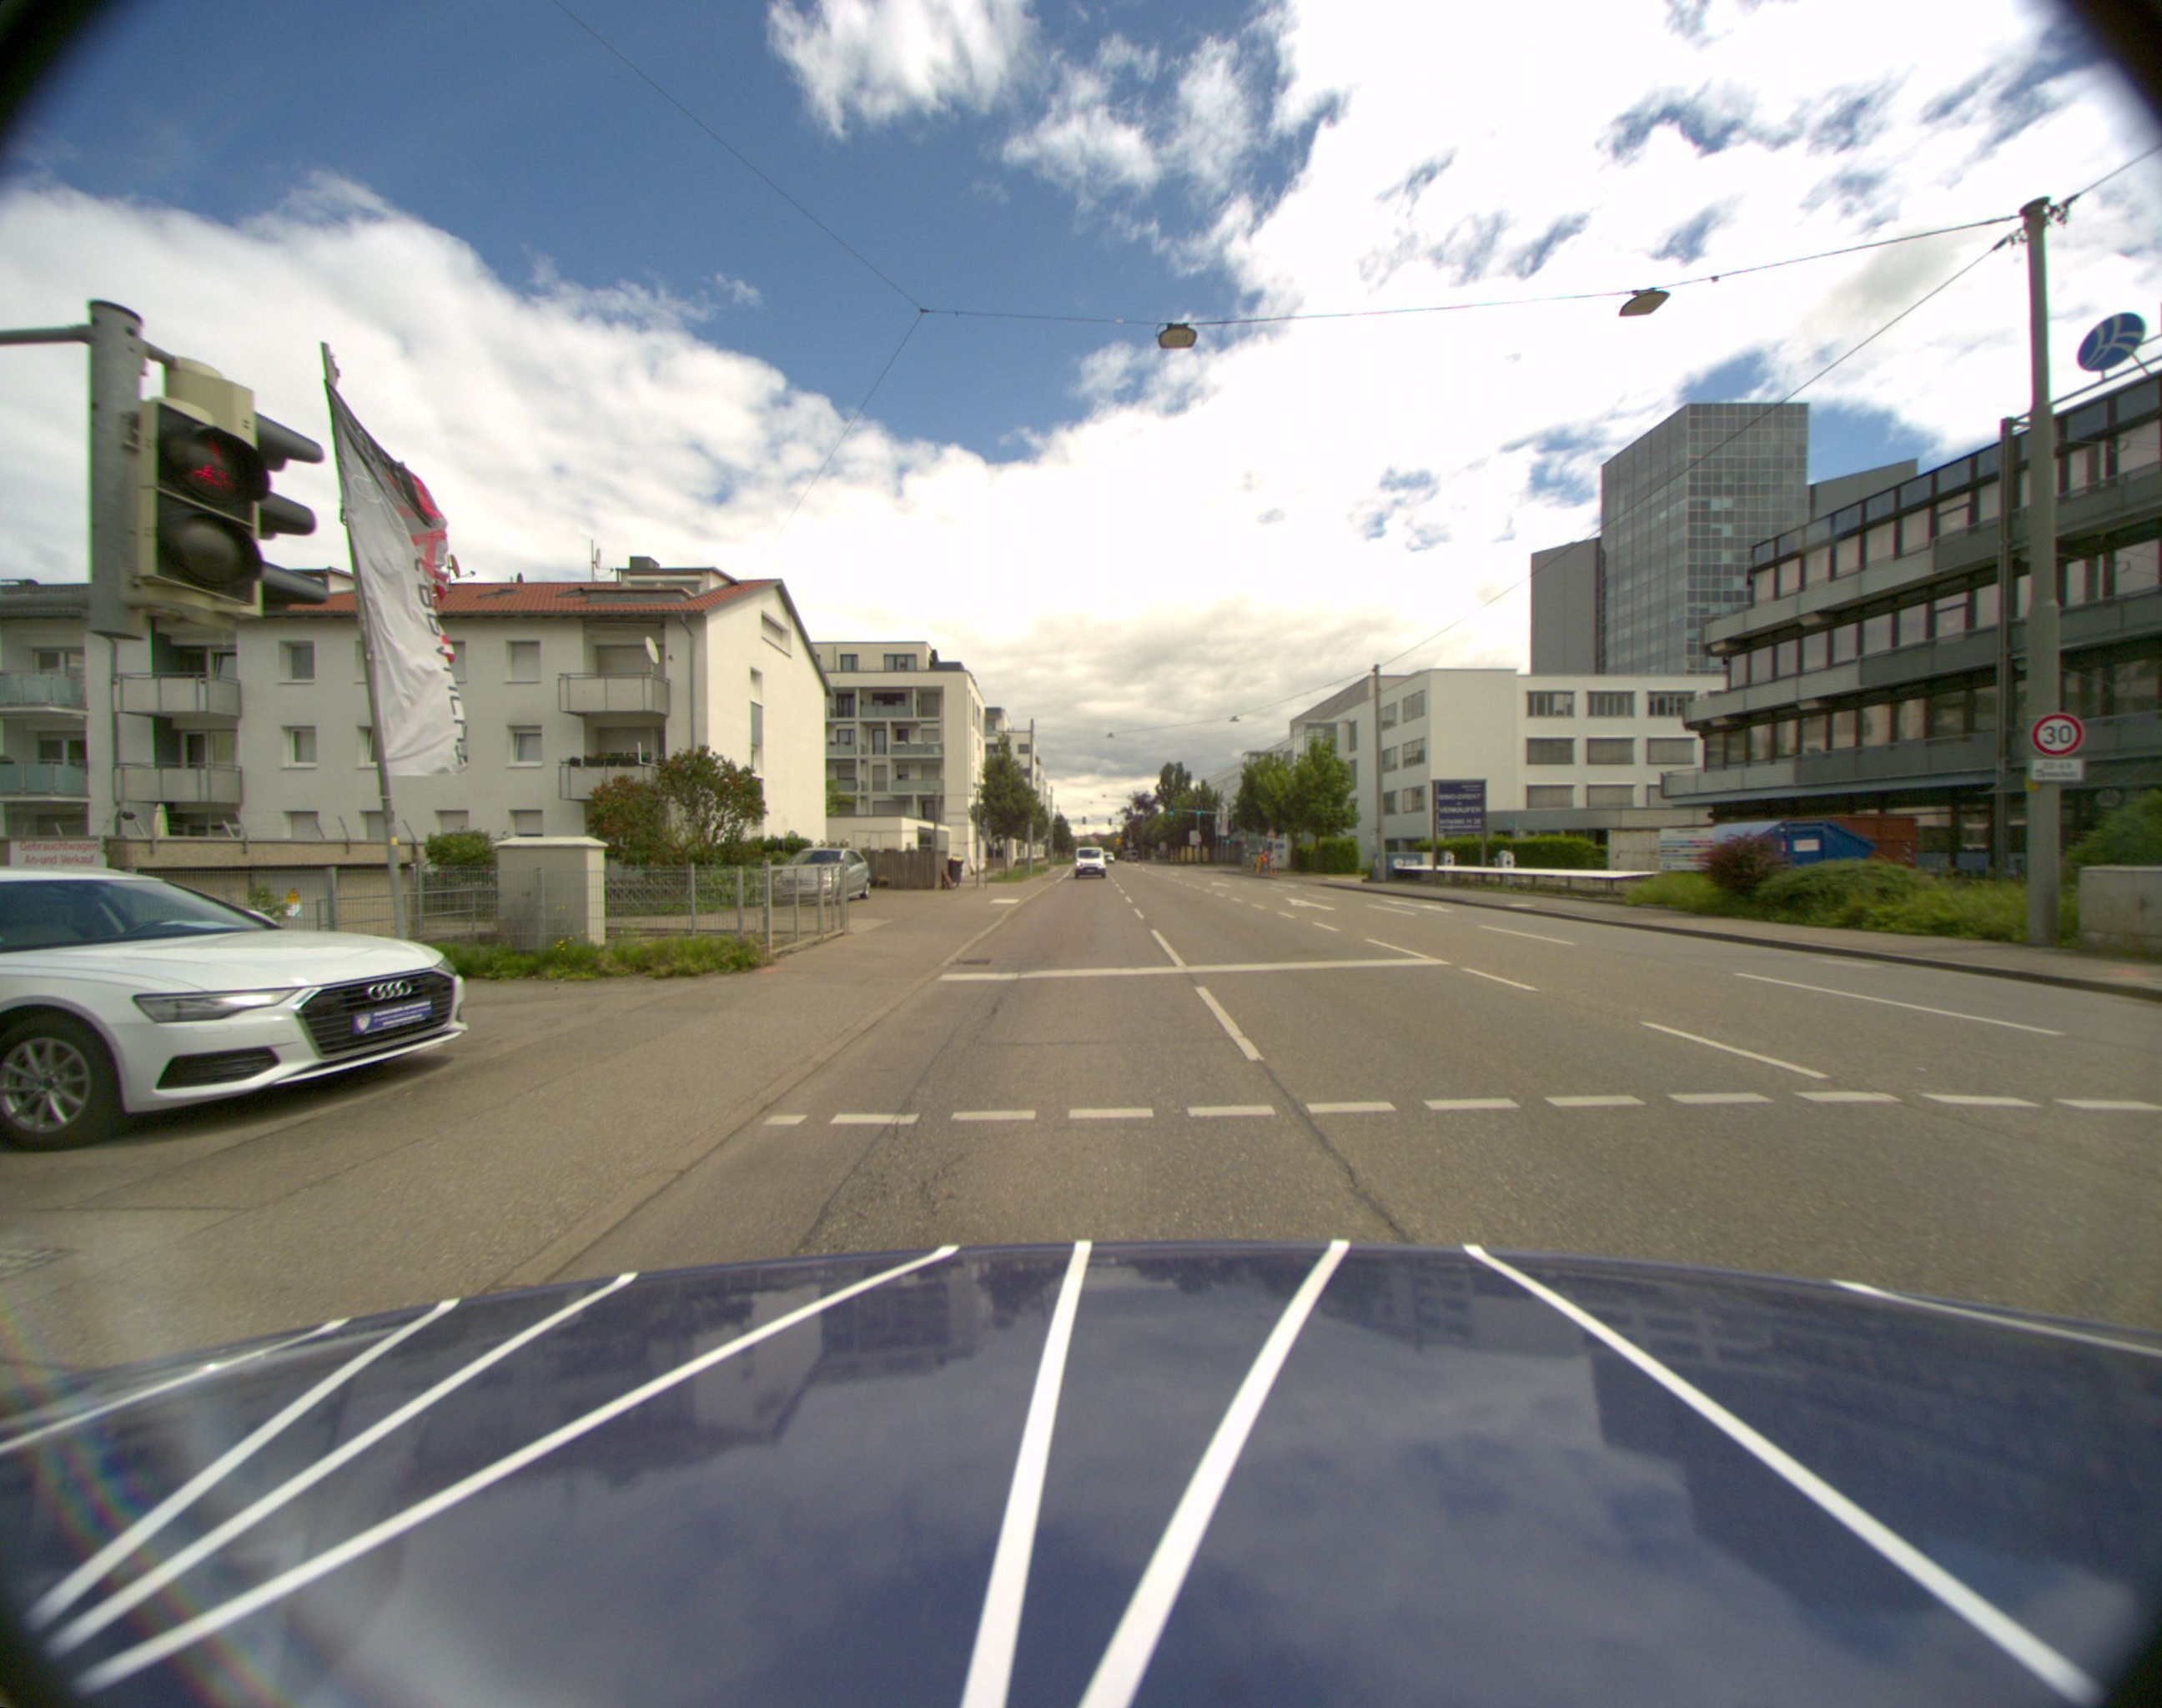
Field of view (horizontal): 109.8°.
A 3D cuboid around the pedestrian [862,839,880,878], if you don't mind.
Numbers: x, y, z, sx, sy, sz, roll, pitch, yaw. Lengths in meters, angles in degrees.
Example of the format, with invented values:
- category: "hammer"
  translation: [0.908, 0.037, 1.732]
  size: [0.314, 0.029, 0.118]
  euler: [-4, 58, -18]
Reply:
- category: "pedestrian"
  translation: [-9.436, 0.195, 34.167]
  size: [0.507, 1.755, 0.501]
  euler: [-2, 2, 17]

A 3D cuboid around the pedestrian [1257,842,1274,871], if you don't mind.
- category: "pedestrian"
  translation: [12.912, 0.159, 53.178]
  size: [0.724, 2.002, 0.812]
  euler: [-1, 2, 43]

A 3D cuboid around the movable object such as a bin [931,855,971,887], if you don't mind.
- category: "movable object such as a bin"
  translation: [-5.743, 0.740, 33.683]
  size: [1.320, 1.353, 1.252]
  euler: [0, 2, 17]

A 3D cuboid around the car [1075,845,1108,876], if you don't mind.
- category: "car"
  translation: [0.645, 0.393, 50.967]
  size: [1.999, 1.905, 3.998]
  euler: [-1, 1, -2]

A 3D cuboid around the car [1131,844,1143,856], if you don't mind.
- category: "car"
  translation: [11.852, -0.777, 161.806]
  size: [2.148, 2.457, 6.072]
  euler: [1, 1, 1]

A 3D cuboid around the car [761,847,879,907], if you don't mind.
- category: "car"
  translation: [-7.342, 0.587, 21.860]
  size: [1.880, 1.536, 4.521]
  euler: [0, 0, -1]

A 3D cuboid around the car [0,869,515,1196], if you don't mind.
- category: "car"
  translation: [-6.558, 0.907, 4.583]
  size: [4.708, 1.484, 2.045]
  euler: [-1, 0, 0]
